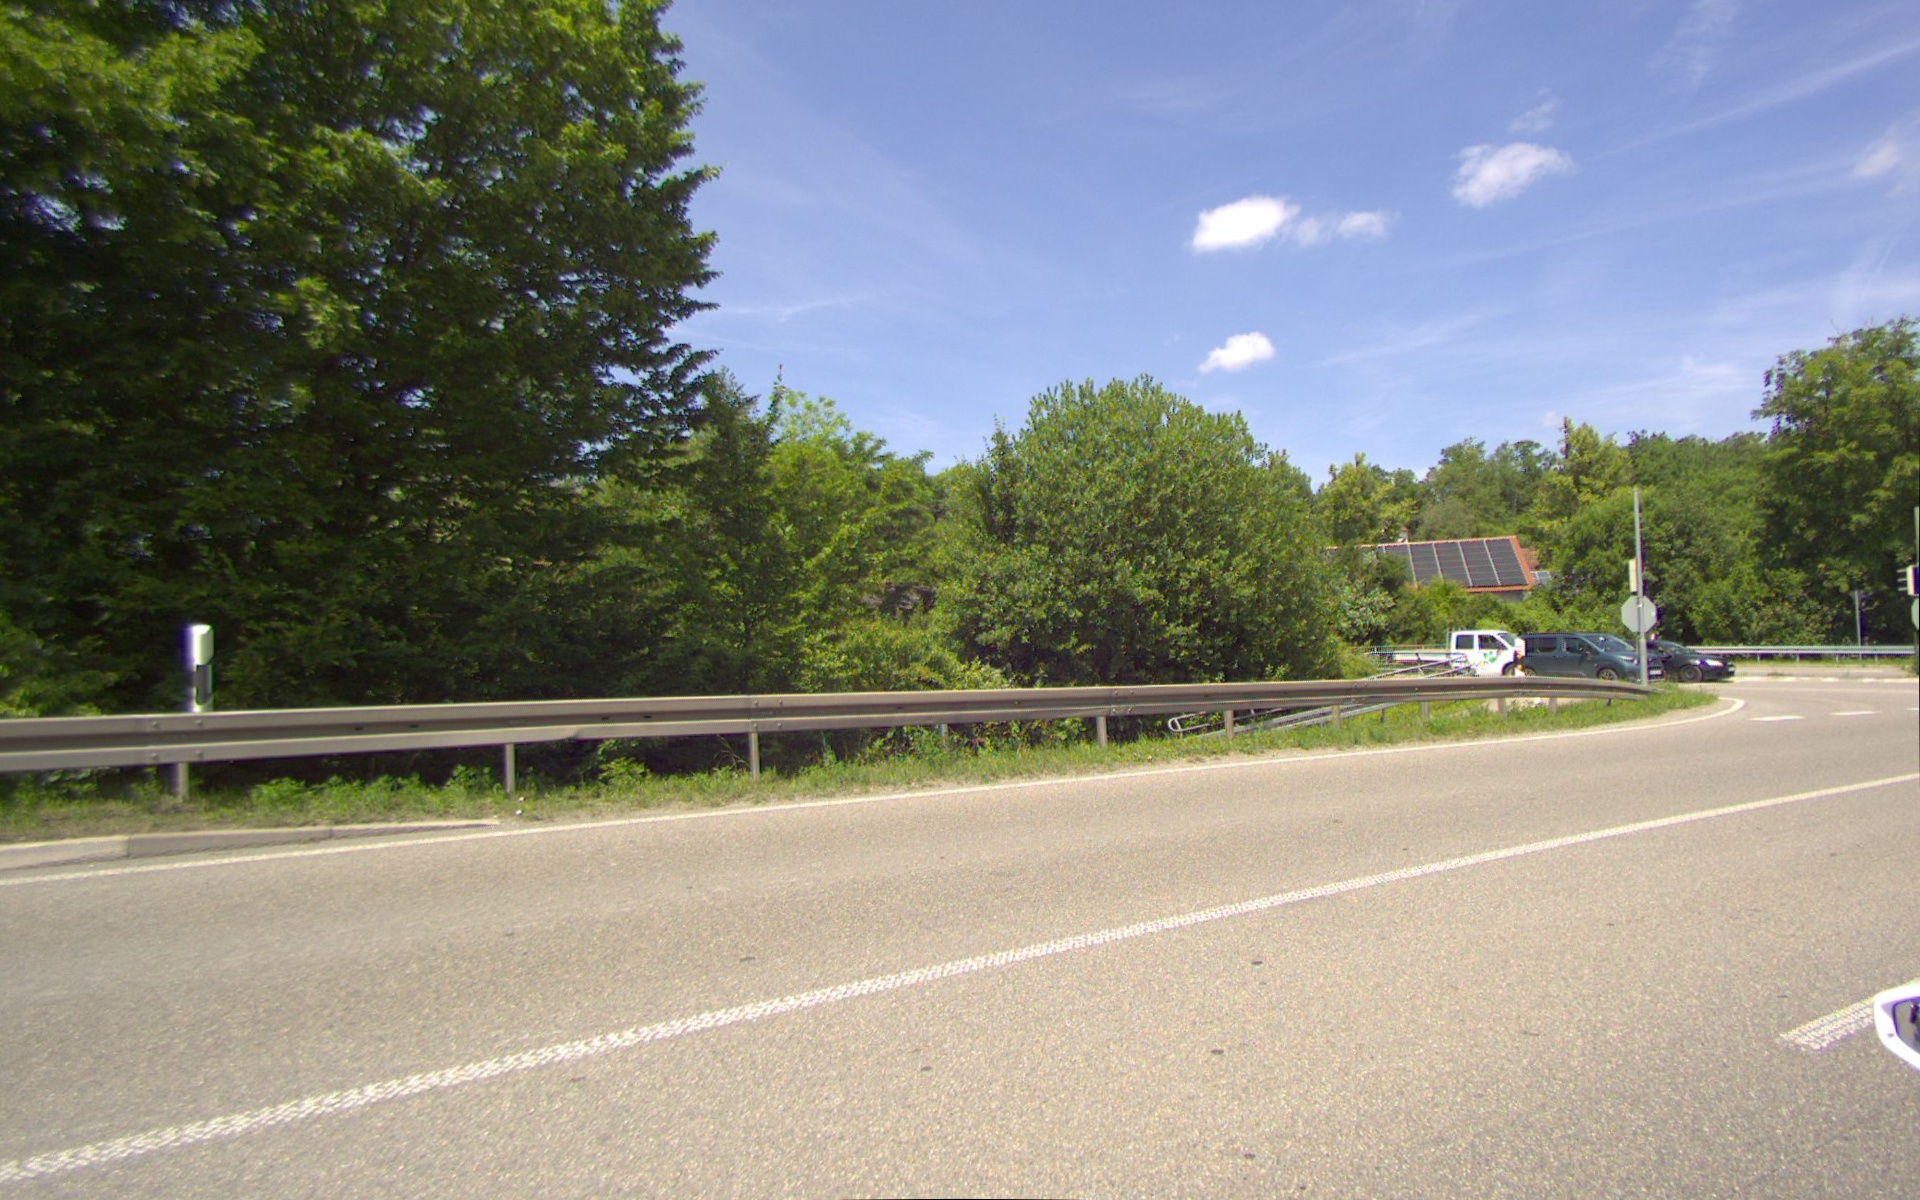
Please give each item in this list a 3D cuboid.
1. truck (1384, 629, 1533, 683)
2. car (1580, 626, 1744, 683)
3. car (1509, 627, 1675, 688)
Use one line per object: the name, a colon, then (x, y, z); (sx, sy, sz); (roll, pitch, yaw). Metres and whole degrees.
truck: (19.620, 2.170, 39.675); (2.028, 1.815, 4.832); (4, -2, -41)
car: (23.803, 1.817, 34.242); (1.970, 1.793, 4.229); (2, -2, -20)
car: (20.206, 1.791, 32.309); (1.970, 1.793, 4.229); (2, -2, -20)
